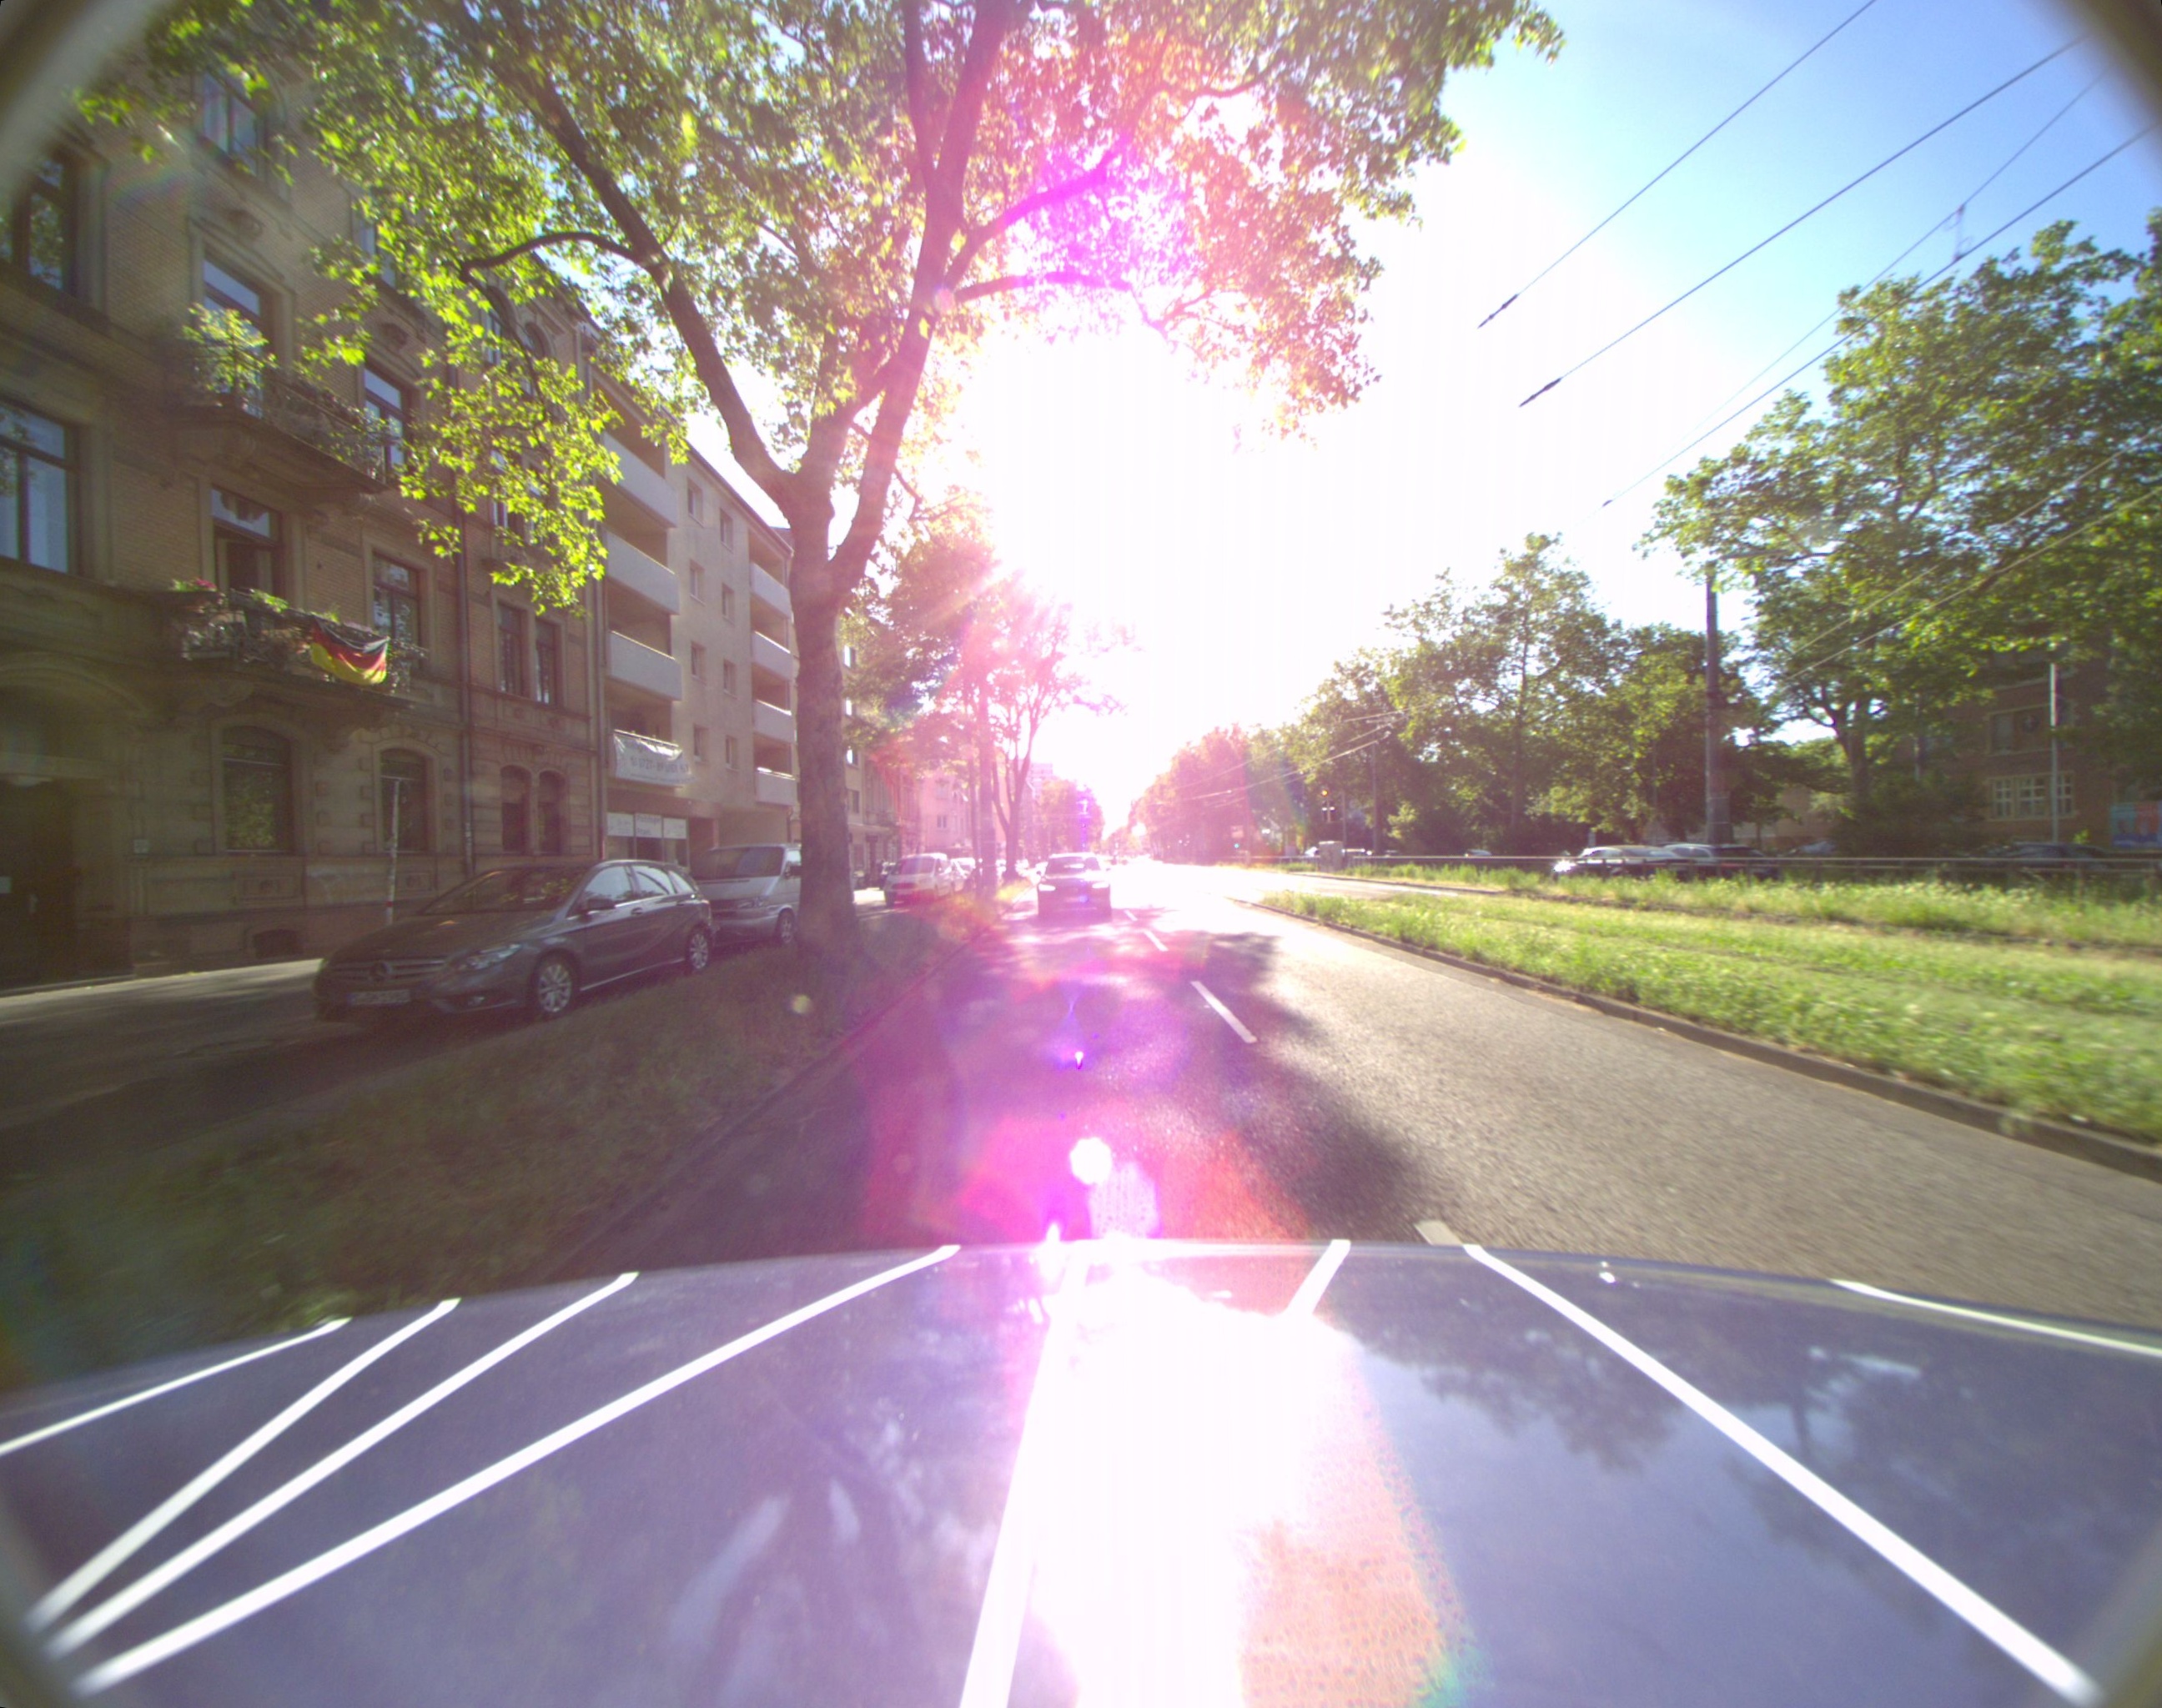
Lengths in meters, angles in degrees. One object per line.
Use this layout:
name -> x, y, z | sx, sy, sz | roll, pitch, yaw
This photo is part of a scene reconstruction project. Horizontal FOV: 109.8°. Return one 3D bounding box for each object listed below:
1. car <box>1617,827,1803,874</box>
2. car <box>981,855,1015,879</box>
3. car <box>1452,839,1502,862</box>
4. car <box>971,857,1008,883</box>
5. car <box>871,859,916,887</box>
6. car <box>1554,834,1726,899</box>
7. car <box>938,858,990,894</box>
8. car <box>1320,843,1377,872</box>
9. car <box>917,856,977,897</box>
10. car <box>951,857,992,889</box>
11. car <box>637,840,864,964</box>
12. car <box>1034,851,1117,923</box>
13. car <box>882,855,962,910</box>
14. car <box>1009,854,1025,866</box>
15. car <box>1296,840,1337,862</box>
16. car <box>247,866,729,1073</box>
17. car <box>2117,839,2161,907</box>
car -> 18.401, -0.091, 22.572 | 1.693, 1.128, 4.707 | -4, 0, 2
car -> -5.468, 0.854, 50.616 | 1.701, 1.413, 4.169 | -4, 0, 0
car -> 27.469, -0.254, 52.835 | 1.595, 1.462, 3.822 | -4, 0, 4
car -> -5.451, 0.923, 45.648 | 1.593, 1.426, 3.905 | -4, 0, 1
car -> -10.966, 1.070, 44.638 | 1.697, 1.472, 3.999 | -2, 0, -2
car -> 15.417, 0.314, 21.258 | 1.798, 1.543, 4.047 | -4, 0, 1
car -> -5.395, 0.969, 35.465 | 1.565, 1.476, 3.787 | -4, 0, 3
car -> 15.622, 0.225, 44.550 | 1.849, 1.521, 3.874 | -4, 0, -1
car -> -5.473, 0.889, 31.405 | 1.515, 1.471, 3.492 | -4, 0, 4
car -> -5.701, 0.968, 39.953 | 1.630, 1.468, 3.697 | -4, 0, -1
car -> -5.759, 0.746, 14.073 | 1.869, 1.805, 4.800 | -4, 0, 2
car -> -0.130, 0.832, 20.800 | 1.969, 1.664, 4.000 | -4, 0, 0
car -> -5.483, 0.926, 26.664 | 1.629, 1.658, 4.142 | -4, 0, 3
car -> -8.396, 0.740, 99.409 | 1.739, 1.510, 4.000 | 0, 0, 0
car -> 19.307, -0.235, 62.572 | 1.890, 1.610, 4.598 | -4, 0, 0
car -> -5.801, 0.972, 8.315 | 1.708, 1.493, 4.358 | -4, 0, 1
car -> 27.325, 0.430, 17.278 | 1.999, 1.612, 3.999 | -4, 0, -2
